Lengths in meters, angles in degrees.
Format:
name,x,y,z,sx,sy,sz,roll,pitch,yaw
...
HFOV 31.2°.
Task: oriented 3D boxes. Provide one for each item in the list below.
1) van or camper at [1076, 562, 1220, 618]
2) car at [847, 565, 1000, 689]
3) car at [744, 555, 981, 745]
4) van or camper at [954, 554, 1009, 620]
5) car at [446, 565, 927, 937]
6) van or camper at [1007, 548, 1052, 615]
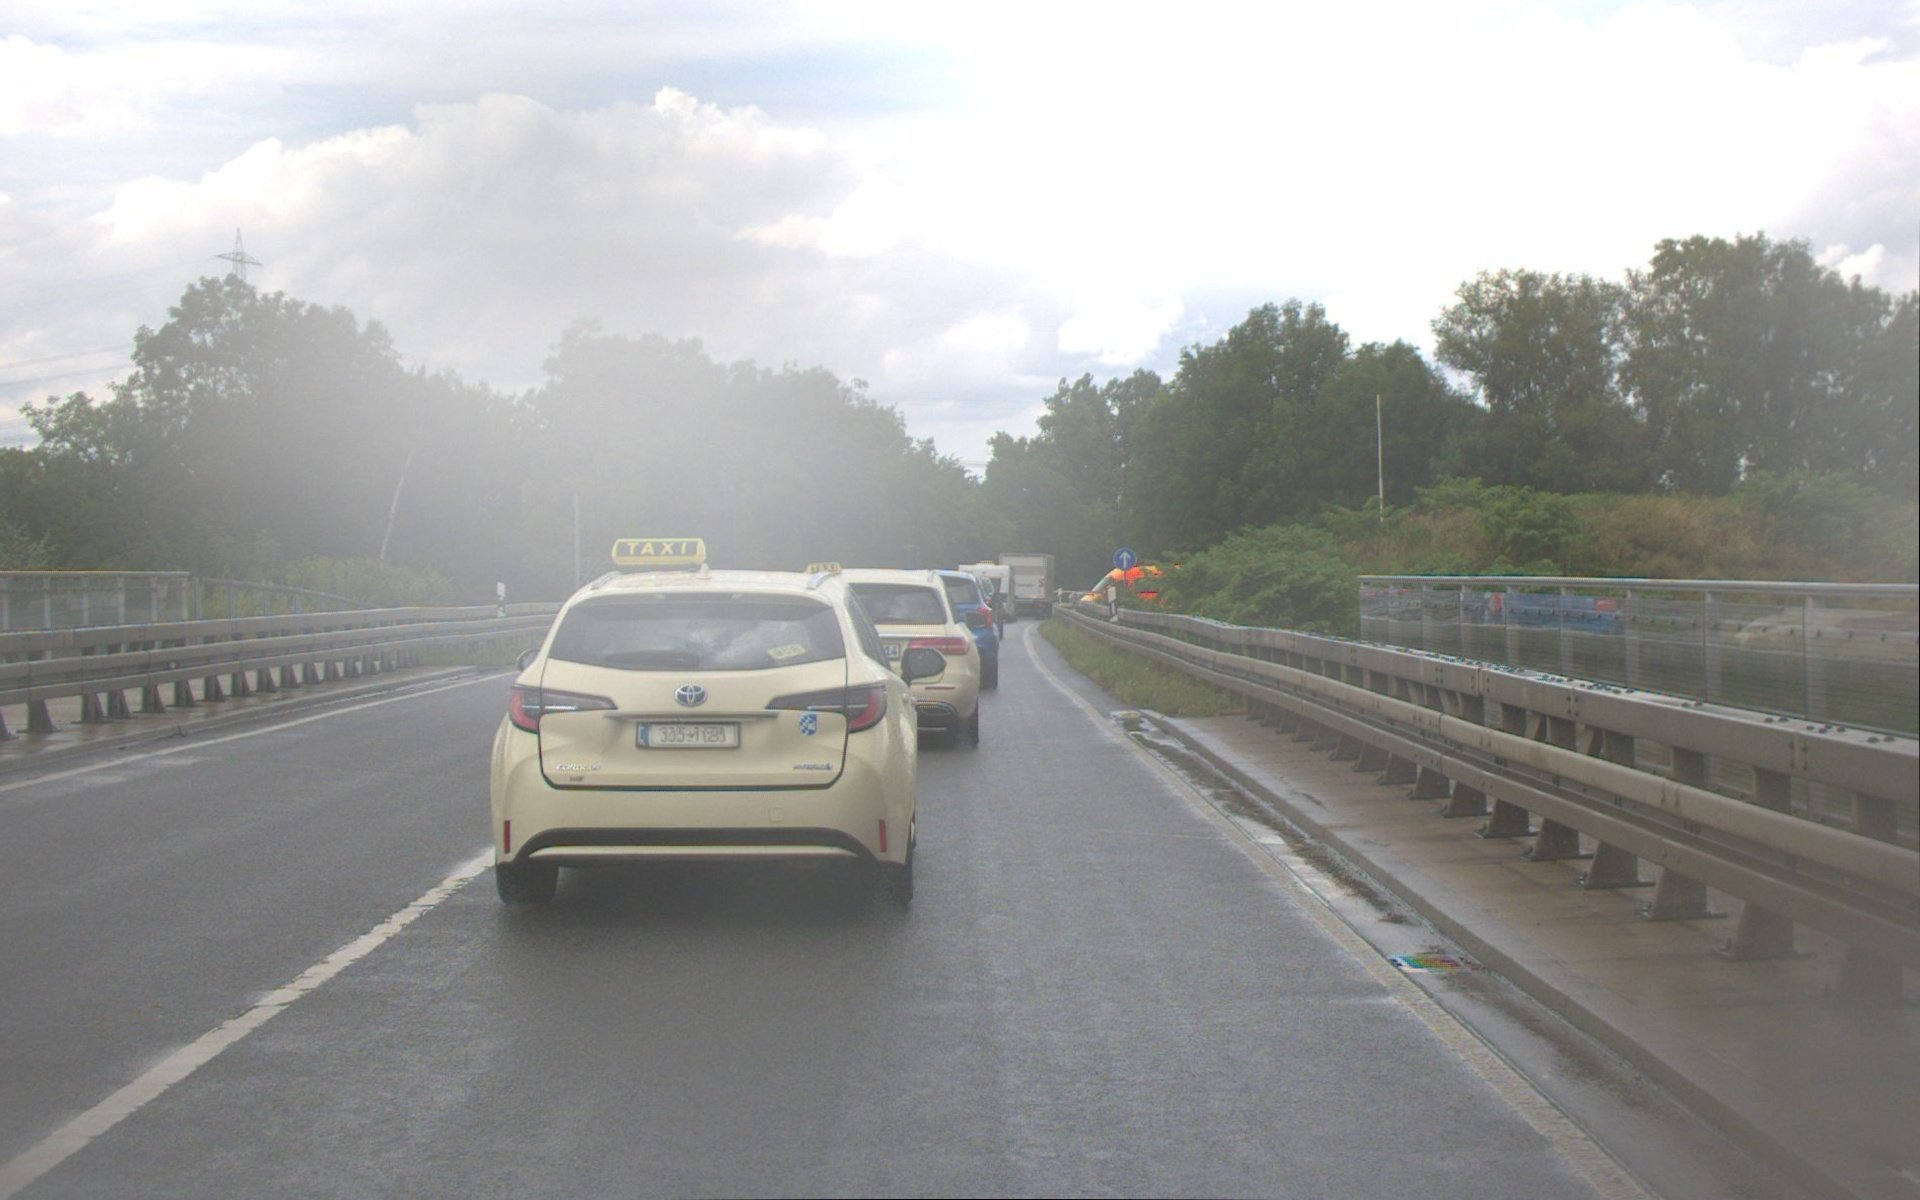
name,x,y,z,sx,sy,sz,roll,pitch,yaw
van or camper,7.870,-0.435,144.035,5.676,2.234,2.021,1,1,-14
car,-0.458,0.309,44.265,1.854,1.438,4.171,1,1,0
car,-0.779,0.369,29.309,1.854,1.438,4.171,1,1,0
van or camper,1.001,-0.622,154.519,2.333,2.854,6.306,1,1,1
car,-1.098,0.575,15.634,1.854,1.389,4.171,1,1,0
van or camper,3.738,-1.017,184.831,2.333,3.550,6.306,1,1,1
